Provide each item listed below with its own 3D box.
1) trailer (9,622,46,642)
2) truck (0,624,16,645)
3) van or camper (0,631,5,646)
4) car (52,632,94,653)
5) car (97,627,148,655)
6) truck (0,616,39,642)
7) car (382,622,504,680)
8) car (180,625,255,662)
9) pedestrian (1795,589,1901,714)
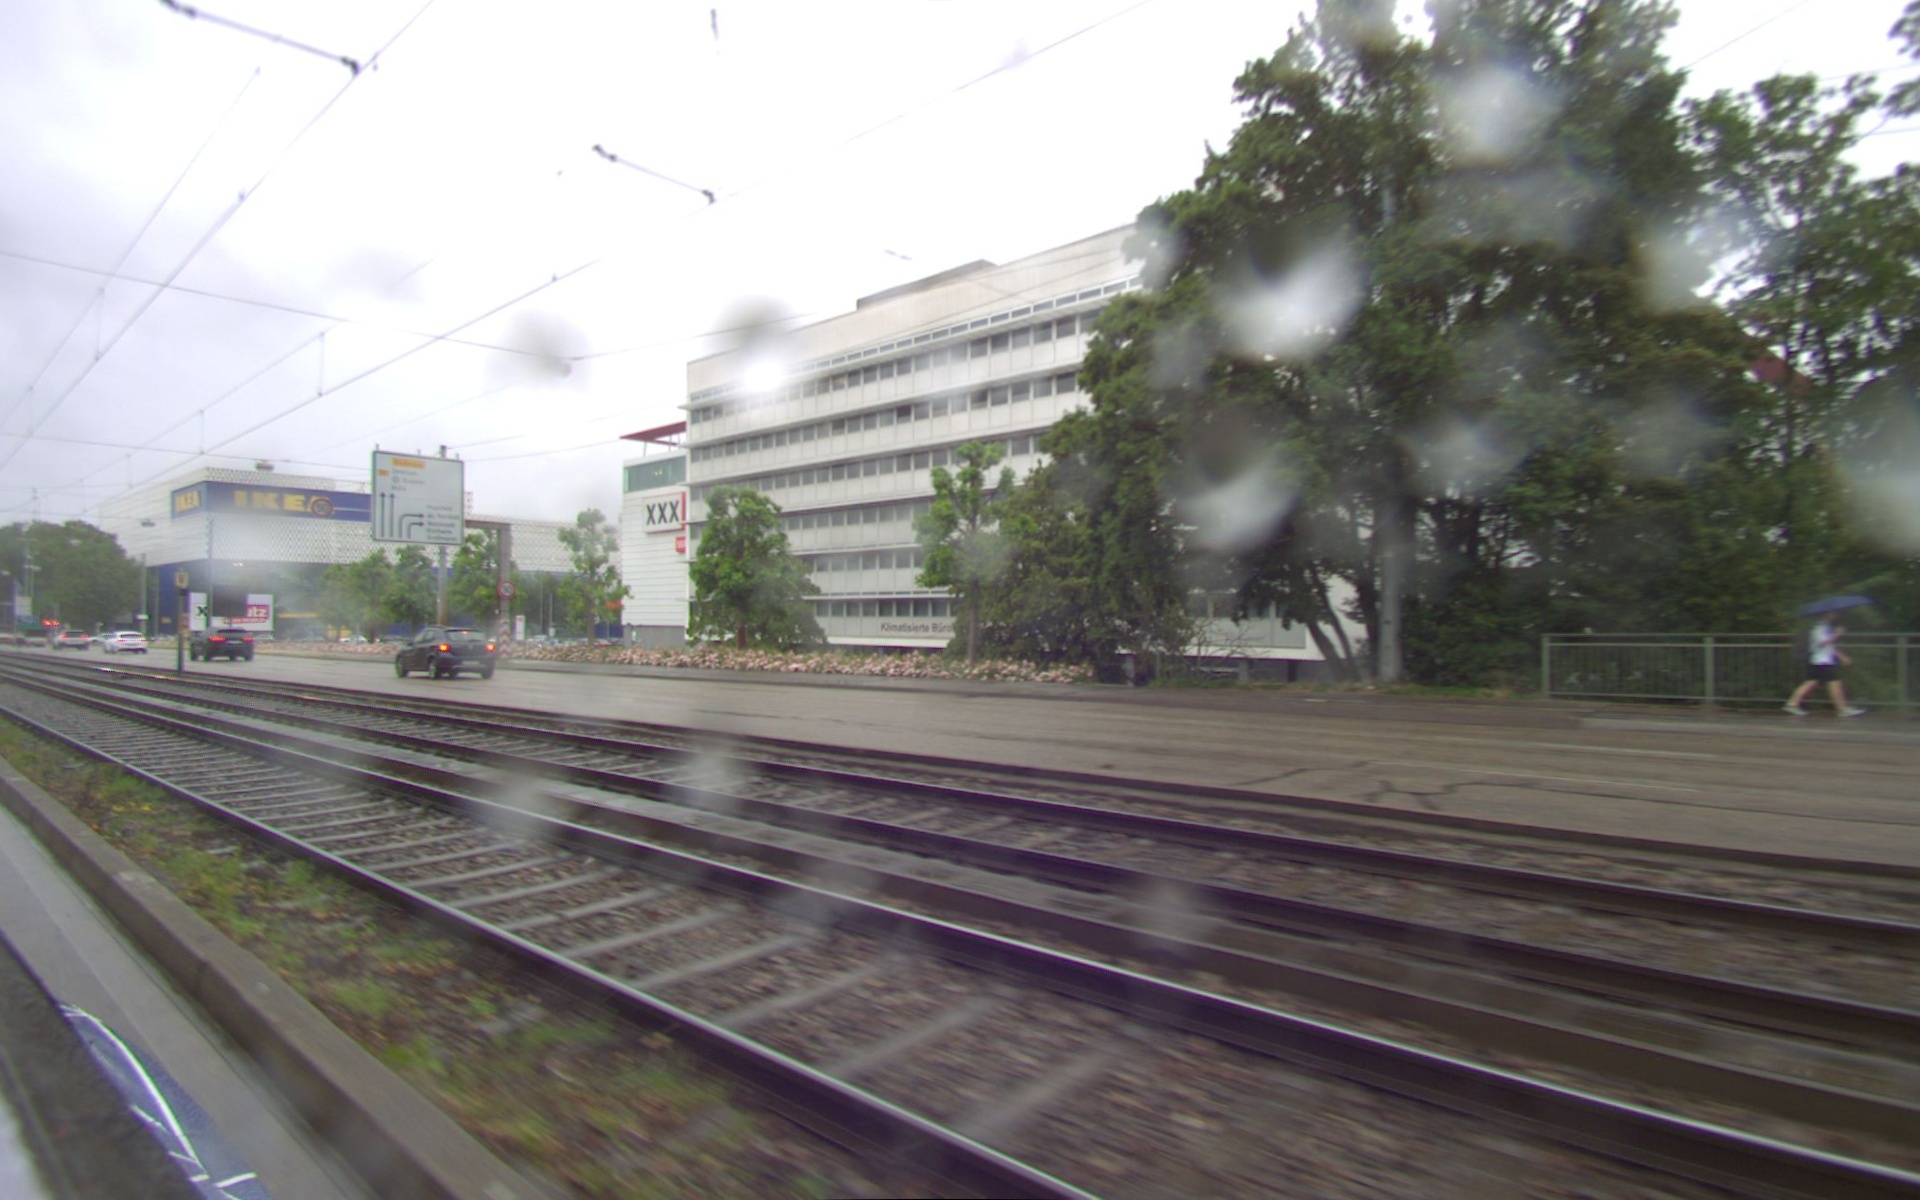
[{"bbox_3d":[-90.553,3.124,98.242,3.832,1.806,2.099,-2,0,39],"label":"trailer"},{"bbox_3d":[-115.929,4.133,122.239,6.065,2.480,2.203,-2,-4,42],"label":"truck"},{"bbox_3d":[-129.990,5.130,135.701,5.685,2.029,2.280,-1,-2,43],"label":"van or camper"},{"bbox_3d":[-70.874,3.394,80.857,4.765,1.595,1.972,-2,-3,42],"label":"car"},{"bbox_3d":[-54.107,2.630,65.389,4.686,1.695,1.753,-2,-2,41],"label":"car"},{"bbox_3d":[-94.779,2.928,101.874,7.218,2.476,2.408,-2,-3,43],"label":"truck"},{"bbox_3d":[-15.765,1.498,30.773,4.253,1.630,1.972,-2,-2,43],"label":"car"},{"bbox_3d":[-36.542,2.139,49.785,4.879,1.734,1.972,-2,-3,41],"label":"car"},{"bbox_3d":[13.113,0.748,14.974,1.120,1.772,0.843,-2,-3,41],"label":"pedestrian"}]
